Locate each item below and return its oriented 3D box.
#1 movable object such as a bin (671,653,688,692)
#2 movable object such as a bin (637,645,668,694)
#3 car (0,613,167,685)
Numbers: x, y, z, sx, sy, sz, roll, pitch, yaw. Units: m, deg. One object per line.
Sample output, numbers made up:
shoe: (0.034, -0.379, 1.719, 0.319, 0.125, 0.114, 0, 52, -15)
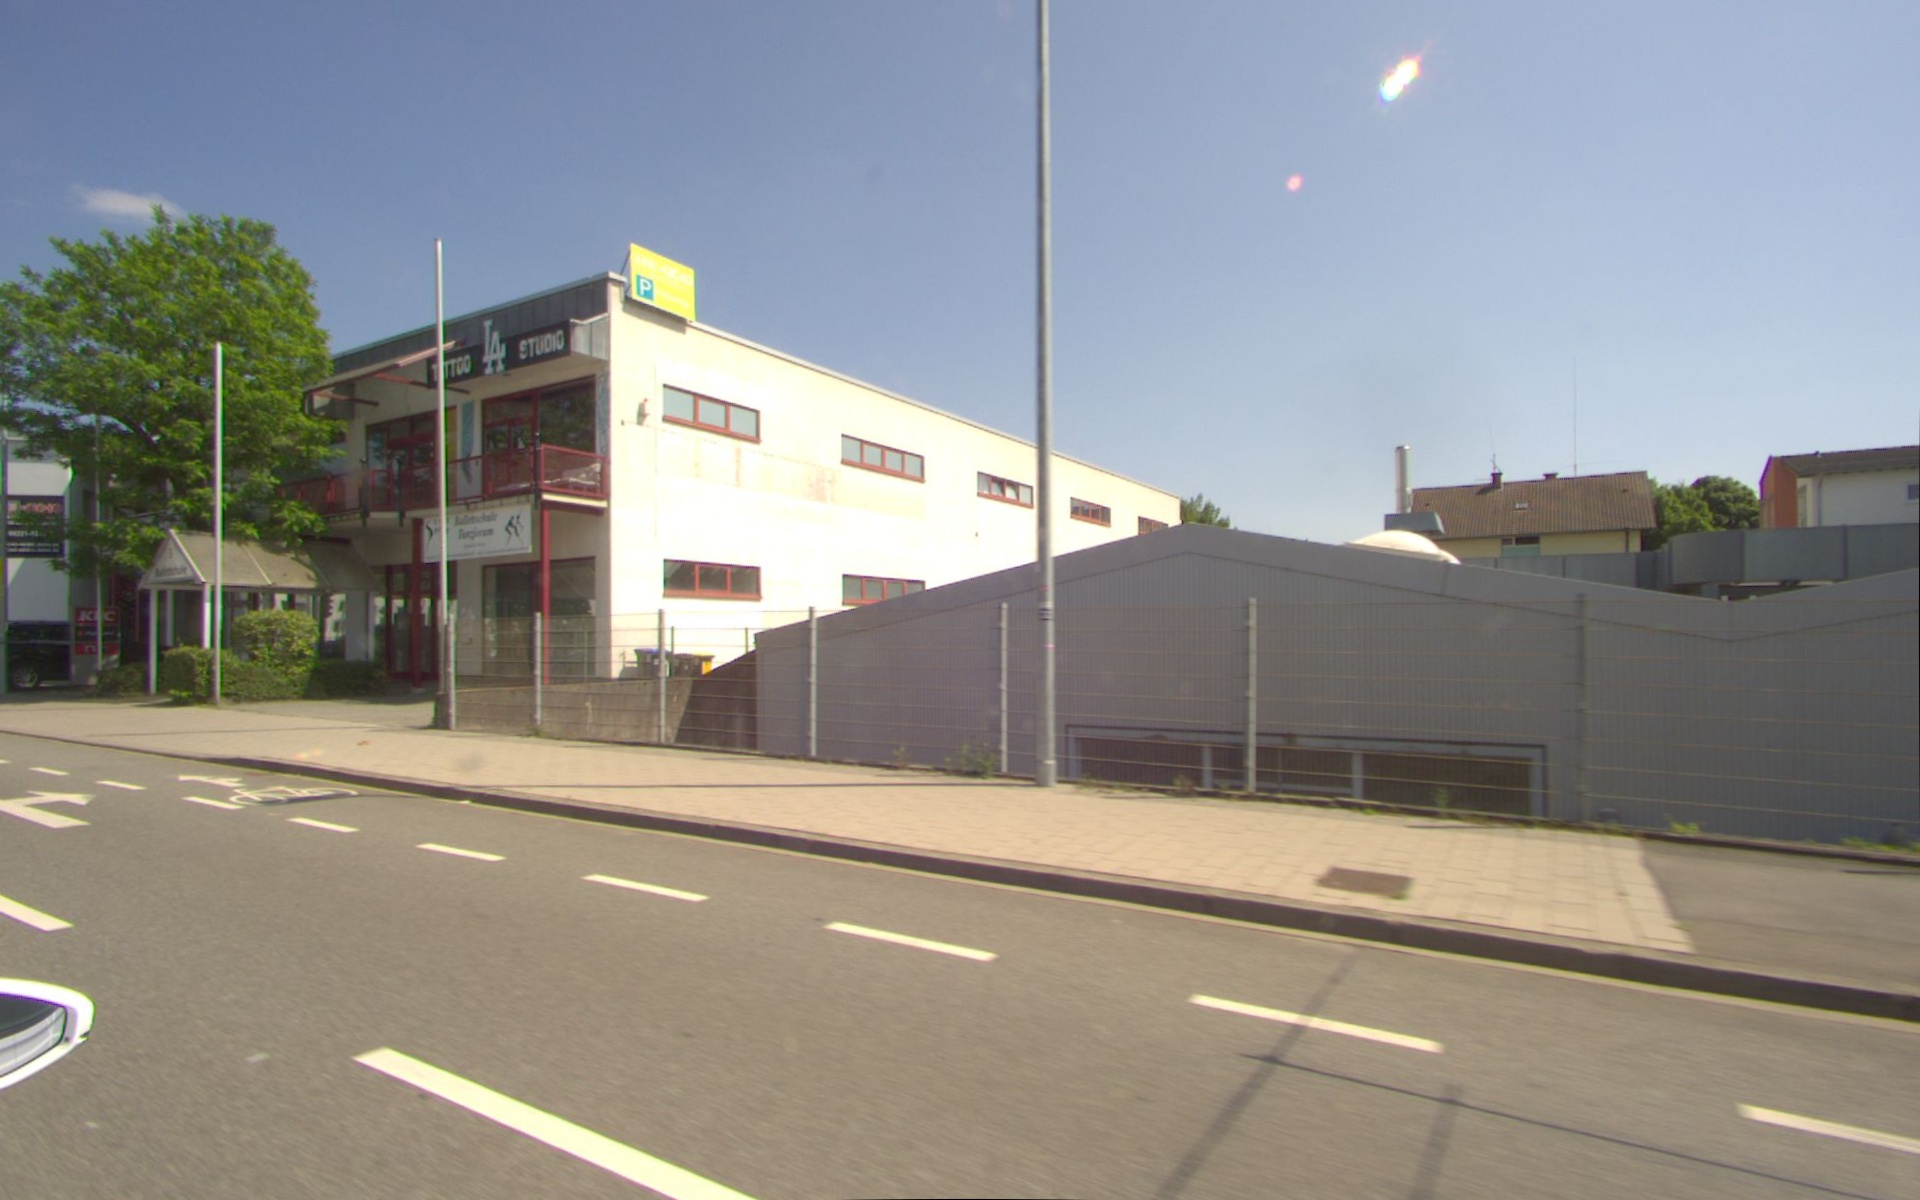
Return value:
movable object such as a bin: (-6.289, 1.619, 22.441, 0.271, 0.865, 0.266, 0, 0, 34)
movable object such as a bin: (-6.680, 1.501, 21.756, 0.537, 1.025, 0.411, 0, 0, 34)
car: (-24.013, 1.267, 26.837, 1.975, 1.798, 3.973, 0, -1, 38)
